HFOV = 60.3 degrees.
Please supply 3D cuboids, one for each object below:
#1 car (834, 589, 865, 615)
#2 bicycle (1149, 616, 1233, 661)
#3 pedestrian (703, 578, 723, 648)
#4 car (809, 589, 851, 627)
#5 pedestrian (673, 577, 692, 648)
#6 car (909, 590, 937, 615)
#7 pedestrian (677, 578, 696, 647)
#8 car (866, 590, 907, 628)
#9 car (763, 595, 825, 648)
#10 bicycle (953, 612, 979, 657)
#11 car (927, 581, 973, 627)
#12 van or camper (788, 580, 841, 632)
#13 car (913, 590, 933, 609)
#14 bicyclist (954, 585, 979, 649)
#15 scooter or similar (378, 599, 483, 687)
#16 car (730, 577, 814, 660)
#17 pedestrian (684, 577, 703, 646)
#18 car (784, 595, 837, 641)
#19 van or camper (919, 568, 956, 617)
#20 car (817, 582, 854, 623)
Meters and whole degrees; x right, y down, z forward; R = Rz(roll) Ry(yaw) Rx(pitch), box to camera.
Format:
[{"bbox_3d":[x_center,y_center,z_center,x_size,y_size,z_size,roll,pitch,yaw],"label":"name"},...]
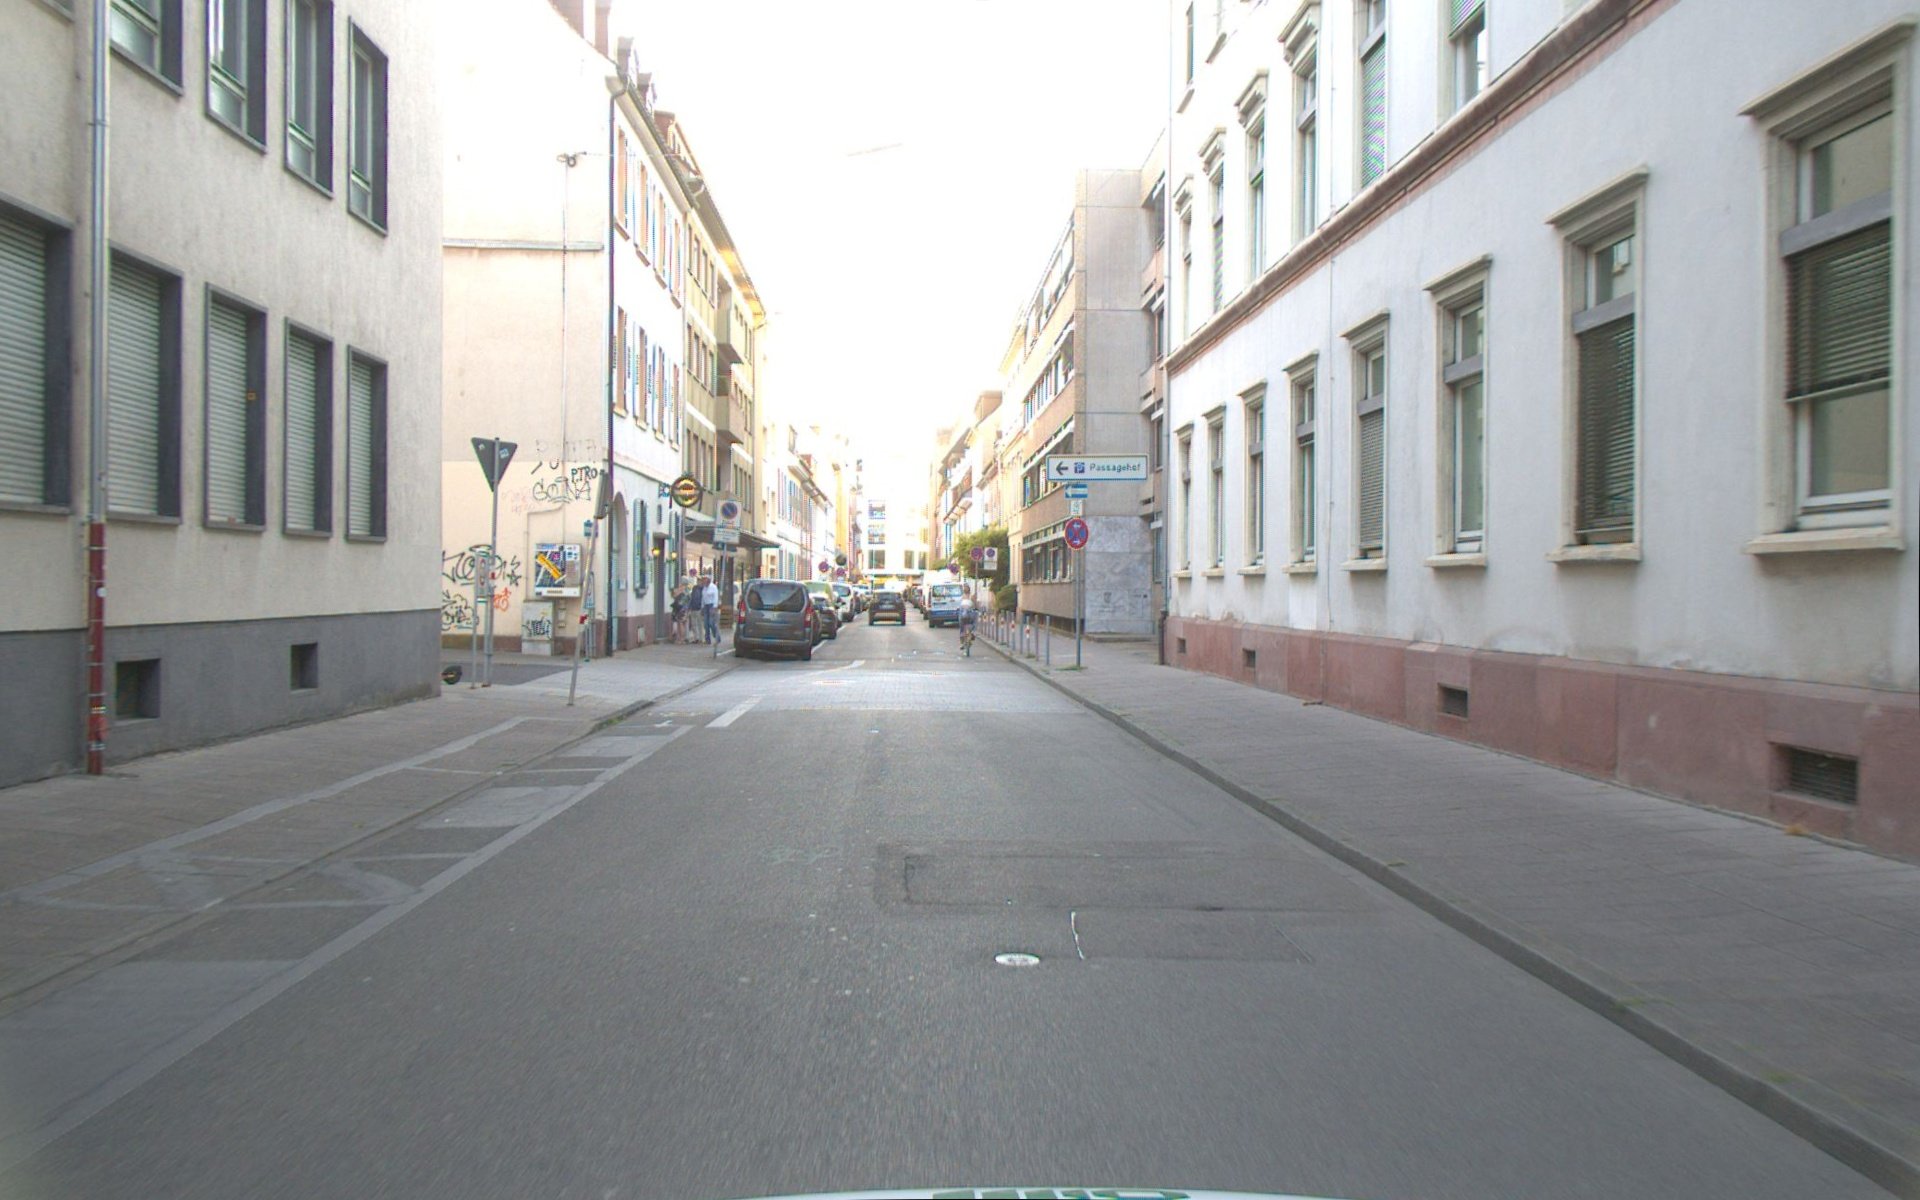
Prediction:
[{"bbox_3d":[-7.239,0.111,108.559,1.766,1.706,4.489,0,0,-1],"label":"car"},{"bbox_3d":[4.949,0.830,35.454,1.707,0.939,0.537,1,0,-10],"label":"bicycle"},{"bbox_3d":[-6.343,0.329,42.501,0.440,1.780,0.470,1,0,-1],"label":"pedestrian"},{"bbox_3d":[-5.589,0.344,71.440,1.629,1.474,3.519,4,0,-3],"label":"car"},{"bbox_3d":[-7.034,0.320,41.937,0.398,1.780,0.470,1,0,-1],"label":"pedestrian"},{"bbox_3d":[-2.518,0.172,112.914,1.783,1.556,5.070,-3,0,-1],"label":"car"},{"bbox_3d":[-7.034,0.319,42.498,0.398,1.780,0.470,1,0,-1],"label":"pedestrian"},{"bbox_3d":[-3.387,0.400,75.958,1.783,1.646,3.998,2,0,-3],"label":"car"},{"bbox_3d":[-4.892,0.613,49.244,1.591,1.511,3.876,0,0,-2],"label":"car"},{"bbox_3d":[0.156,0.878,42.237,0.601,1.101,1.809,1,0,-1],"label":"bicycle"},{"bbox_3d":[-0.483,0.160,73.429,1.897,1.931,5.275,0,0,-2],"label":"car"},{"bbox_3d":[-5.446,0.210,62.249,1.736,1.880,4.177,0,0,-1],"label":"van or camper"},{"bbox_3d":[-3.223,-0.067,143.203,1.620,1.588,3.604,2,0,-2],"label":"car"},{"bbox_3d":[0.167,0.435,42.177,0.608,1.602,0.683,1,0,-1],"label":"bicyclist"},{"bbox_3d":[-7.757,0.630,24.235,1.345,1.222,0.528,4,-2,-27],"label":"scooter or similar"},{"bbox_3d":[-4.414,0.406,39.345,1.840,1.843,4.446,1,0,-5],"label":"car"},{"bbox_3d":[-6.931,0.306,43.095,0.398,1.780,0.470,1,0,-1],"label":"pedestrian"},{"bbox_3d":[-4.859,0.573,54.151,1.592,1.440,3.978,1,0,-4],"label":"car"},{"bbox_3d":[-1.319,-0.435,93.332,2.008,2.683,7.061,0,0,-1],"label":"van or camper"},{"bbox_3d":[-6.339,0.098,84.498,1.825,2.049,5.102,0,0,-4],"label":"car"}]
